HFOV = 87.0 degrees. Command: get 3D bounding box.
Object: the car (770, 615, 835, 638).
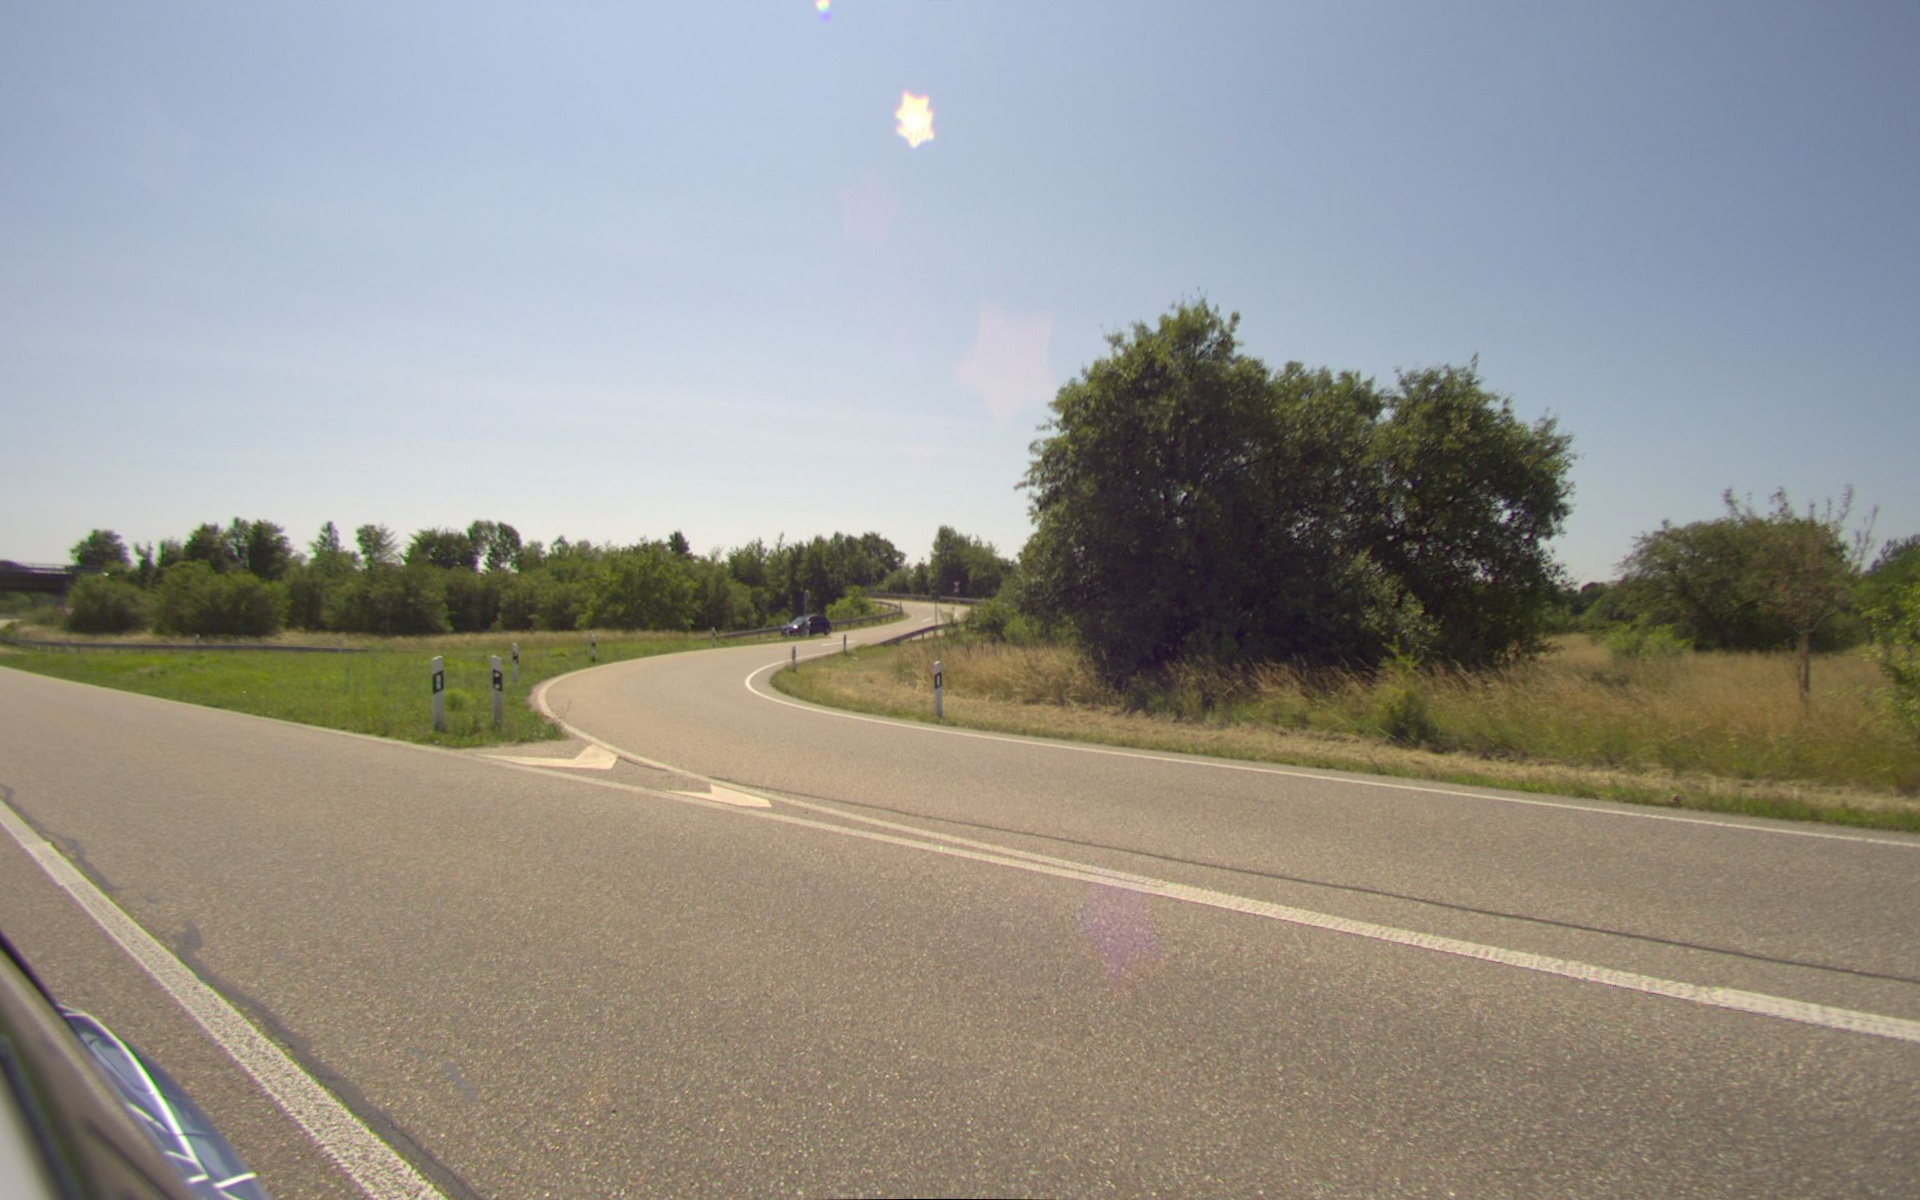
[{"bbox_3d":[-10.810,1.849,69.628,1.889,1.569,4.089,-1,-3,44],"label":"car"}]
